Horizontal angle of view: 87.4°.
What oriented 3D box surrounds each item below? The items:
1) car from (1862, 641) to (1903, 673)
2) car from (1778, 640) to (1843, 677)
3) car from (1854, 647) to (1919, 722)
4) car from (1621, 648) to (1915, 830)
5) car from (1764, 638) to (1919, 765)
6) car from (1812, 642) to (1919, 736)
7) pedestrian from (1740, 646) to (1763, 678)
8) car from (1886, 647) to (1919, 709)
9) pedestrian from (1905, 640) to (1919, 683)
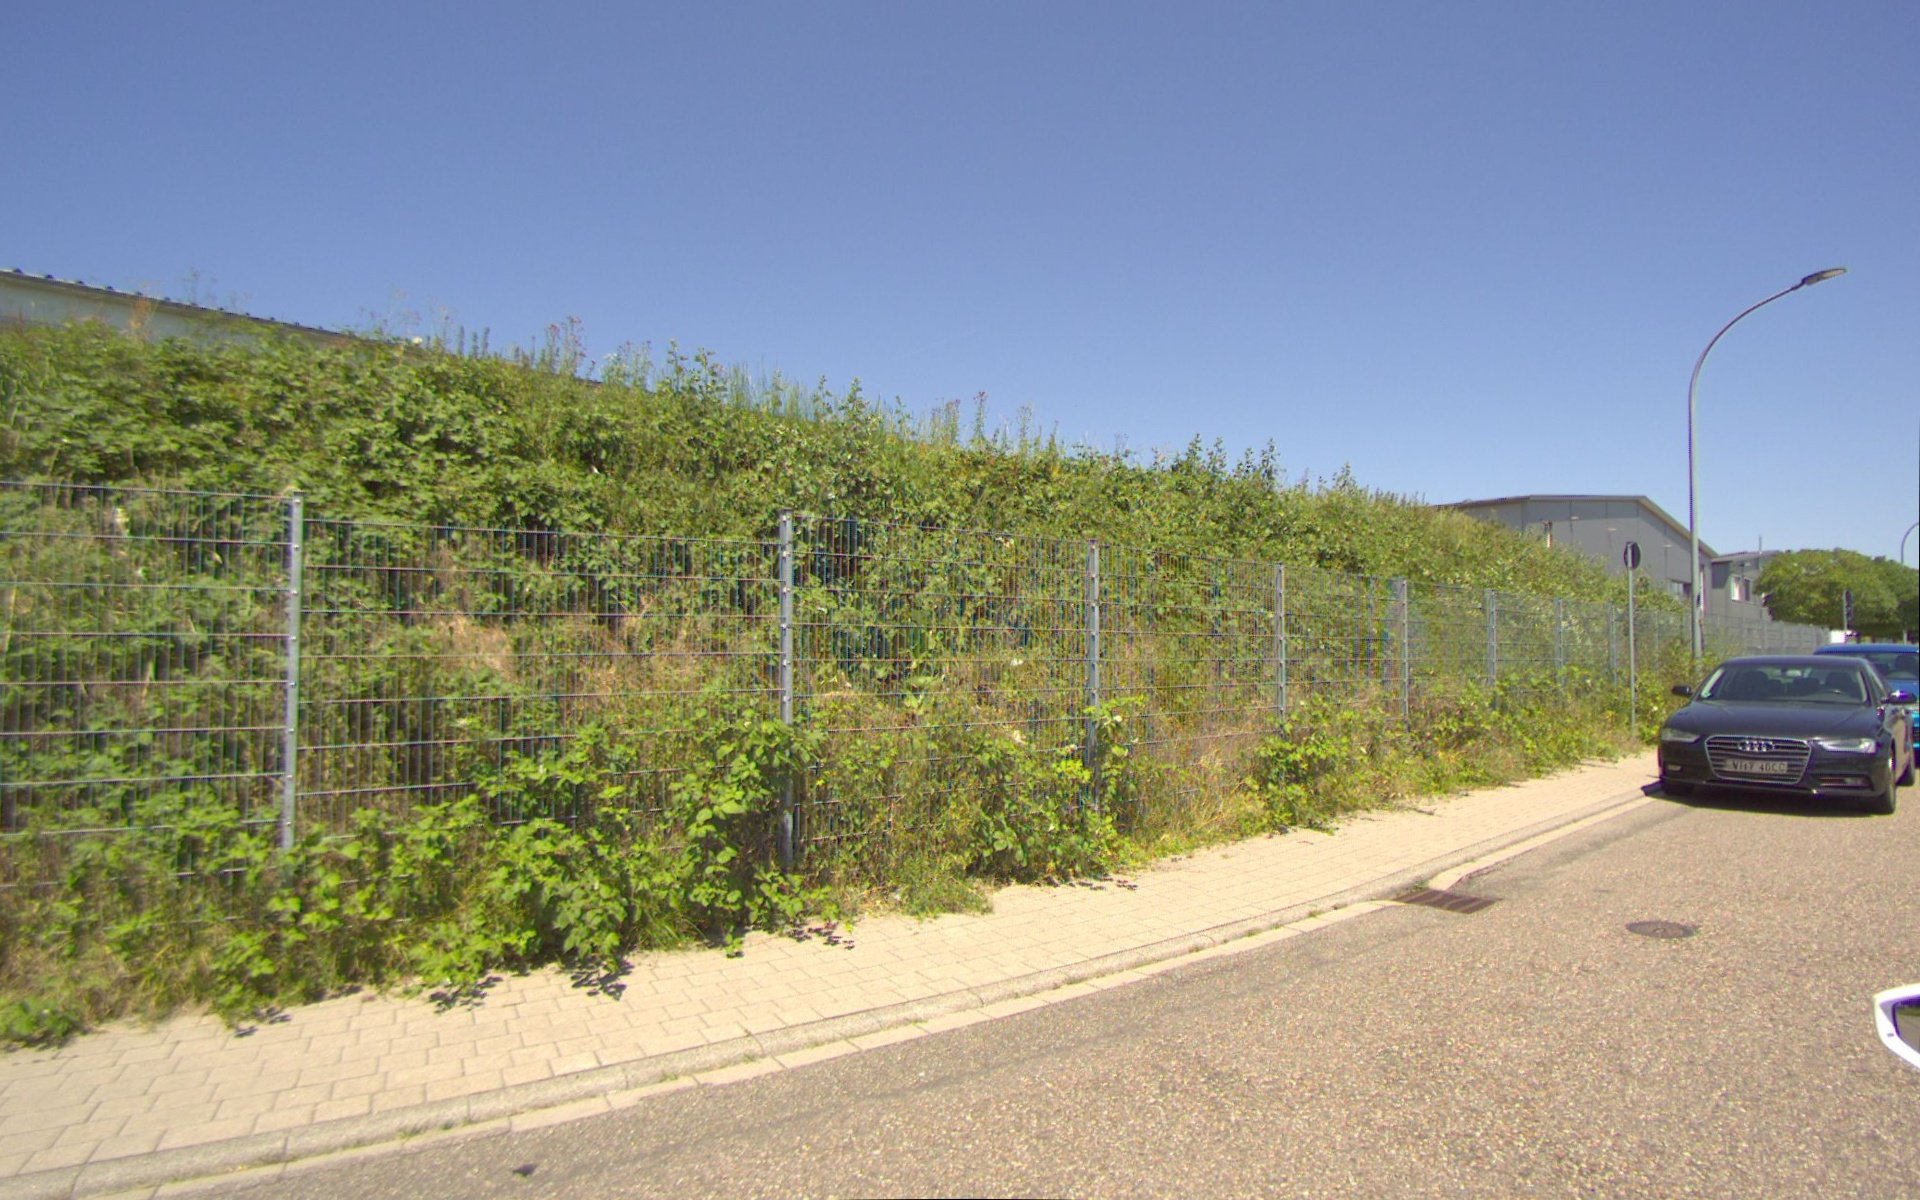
[{"bbox_3d":[63.205,3.882,68.811,5.093,2.045,1.818,3,-1,-45],"label":"car"},{"bbox_3d":[40.071,2.758,47.278,4.506,1.594,1.749,3,-2,-42],"label":"car"},{"bbox_3d":[21.082,1.795,21.979,4.487,1.519,1.808,3,-4,-42],"label":"car"},{"bbox_3d":[8.548,1.254,10.467,4.550,1.473,1.807,3,-4,-44],"label":"car"},{"bbox_3d":[13.118,1.368,14.488,4.357,1.591,1.807,3,-4,-44],"label":"car"},{"bbox_3d":[16.917,1.546,18.109,4.487,1.519,1.808,3,-4,-42],"label":"car"},{"bbox_3d":[44.936,3.502,57.023,0.958,1.736,0.832,3,-1,-43],"label":"pedestrian"},{"bbox_3d":[25.106,1.965,25.630,4.228,1.519,1.808,3,-4,-42],"label":"car"},{"bbox_3d":[41.400,2.663,43.372,1.126,1.825,0.738,2,-1,-41],"label":"pedestrian"}]
